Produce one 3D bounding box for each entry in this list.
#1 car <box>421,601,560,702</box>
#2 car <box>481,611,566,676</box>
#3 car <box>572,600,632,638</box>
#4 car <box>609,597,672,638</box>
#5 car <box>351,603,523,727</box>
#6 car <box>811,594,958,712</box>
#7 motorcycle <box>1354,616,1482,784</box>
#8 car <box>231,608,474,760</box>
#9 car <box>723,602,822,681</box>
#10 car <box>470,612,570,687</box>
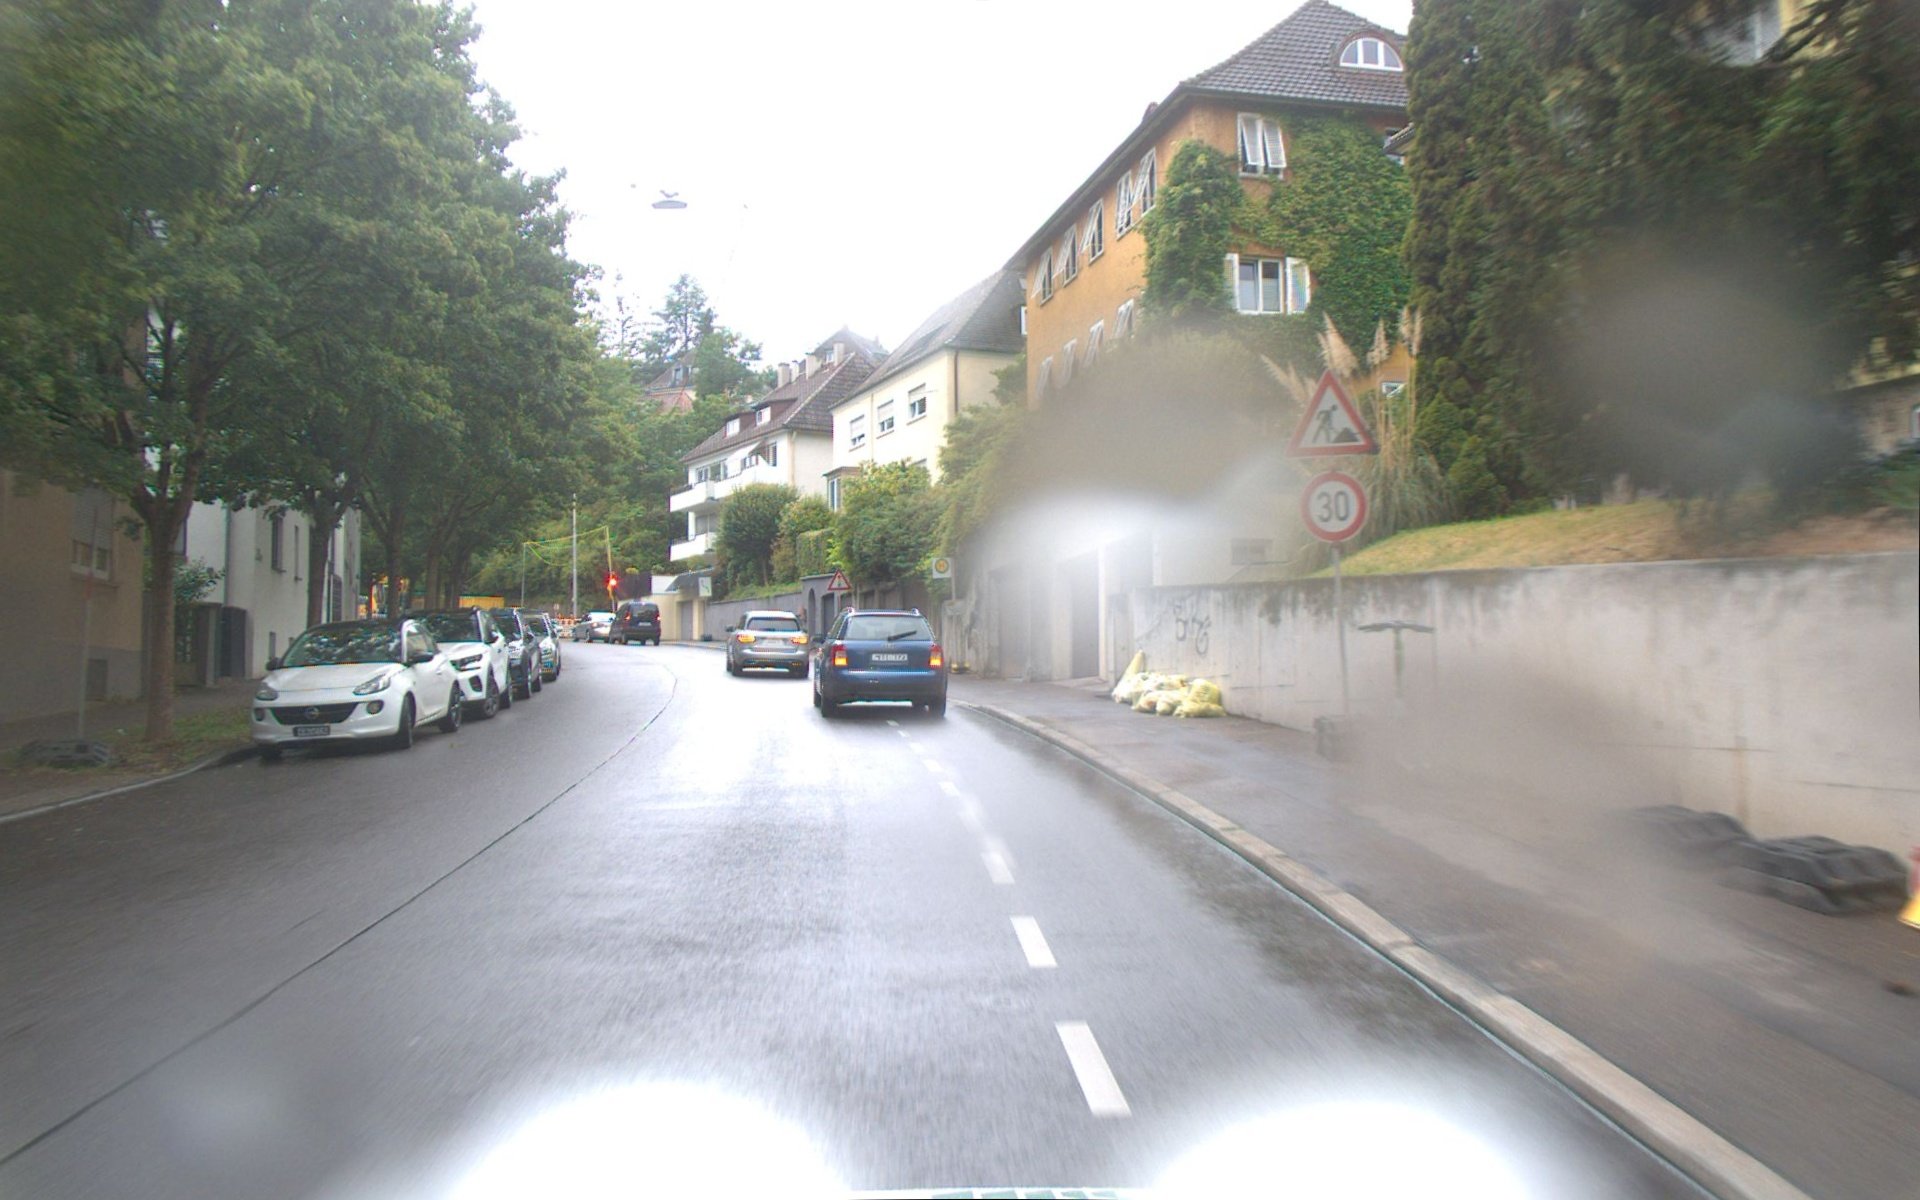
[{"bbox_3d":[-8.428,0.905,30.026,1.957,1.601,3.990,-3,-1,-10],"label":"car"},{"bbox_3d":[-11.191,1.109,42.476,1.960,1.501,3.984,-3,-1,-14],"label":"car"},{"bbox_3d":[-17.079,0.929,78.794,1.968,1.713,3.969,-2,0,-24],"label":"car"},{"bbox_3d":[-14.237,0.801,73.538,1.966,1.713,3.973,-2,0,-22],"label":"car"},{"bbox_3d":[-7.675,0.903,24.625,1.844,1.624,3.991,-2,0,-9],"label":"car"},{"bbox_3d":[-1.174,0.717,23.734,1.818,1.438,4.356,-3,-1,-6],"label":"car"},{"bbox_3d":[3.396,0.710,12.371,0.537,1.151,1.440,-2,0,1],"label":"motorcycle"},{"bbox_3d":[-7.104,0.912,19.775,1.957,1.557,3.991,-2,0,-9],"label":"car"},{"bbox_3d":[-4.479,0.926,39.033,1.916,1.588,4.251,-1,2,-12],"label":"car"},{"bbox_3d":[-9.827,1.081,37.181,1.959,1.501,3.986,-3,-1,-13],"label":"car"}]
